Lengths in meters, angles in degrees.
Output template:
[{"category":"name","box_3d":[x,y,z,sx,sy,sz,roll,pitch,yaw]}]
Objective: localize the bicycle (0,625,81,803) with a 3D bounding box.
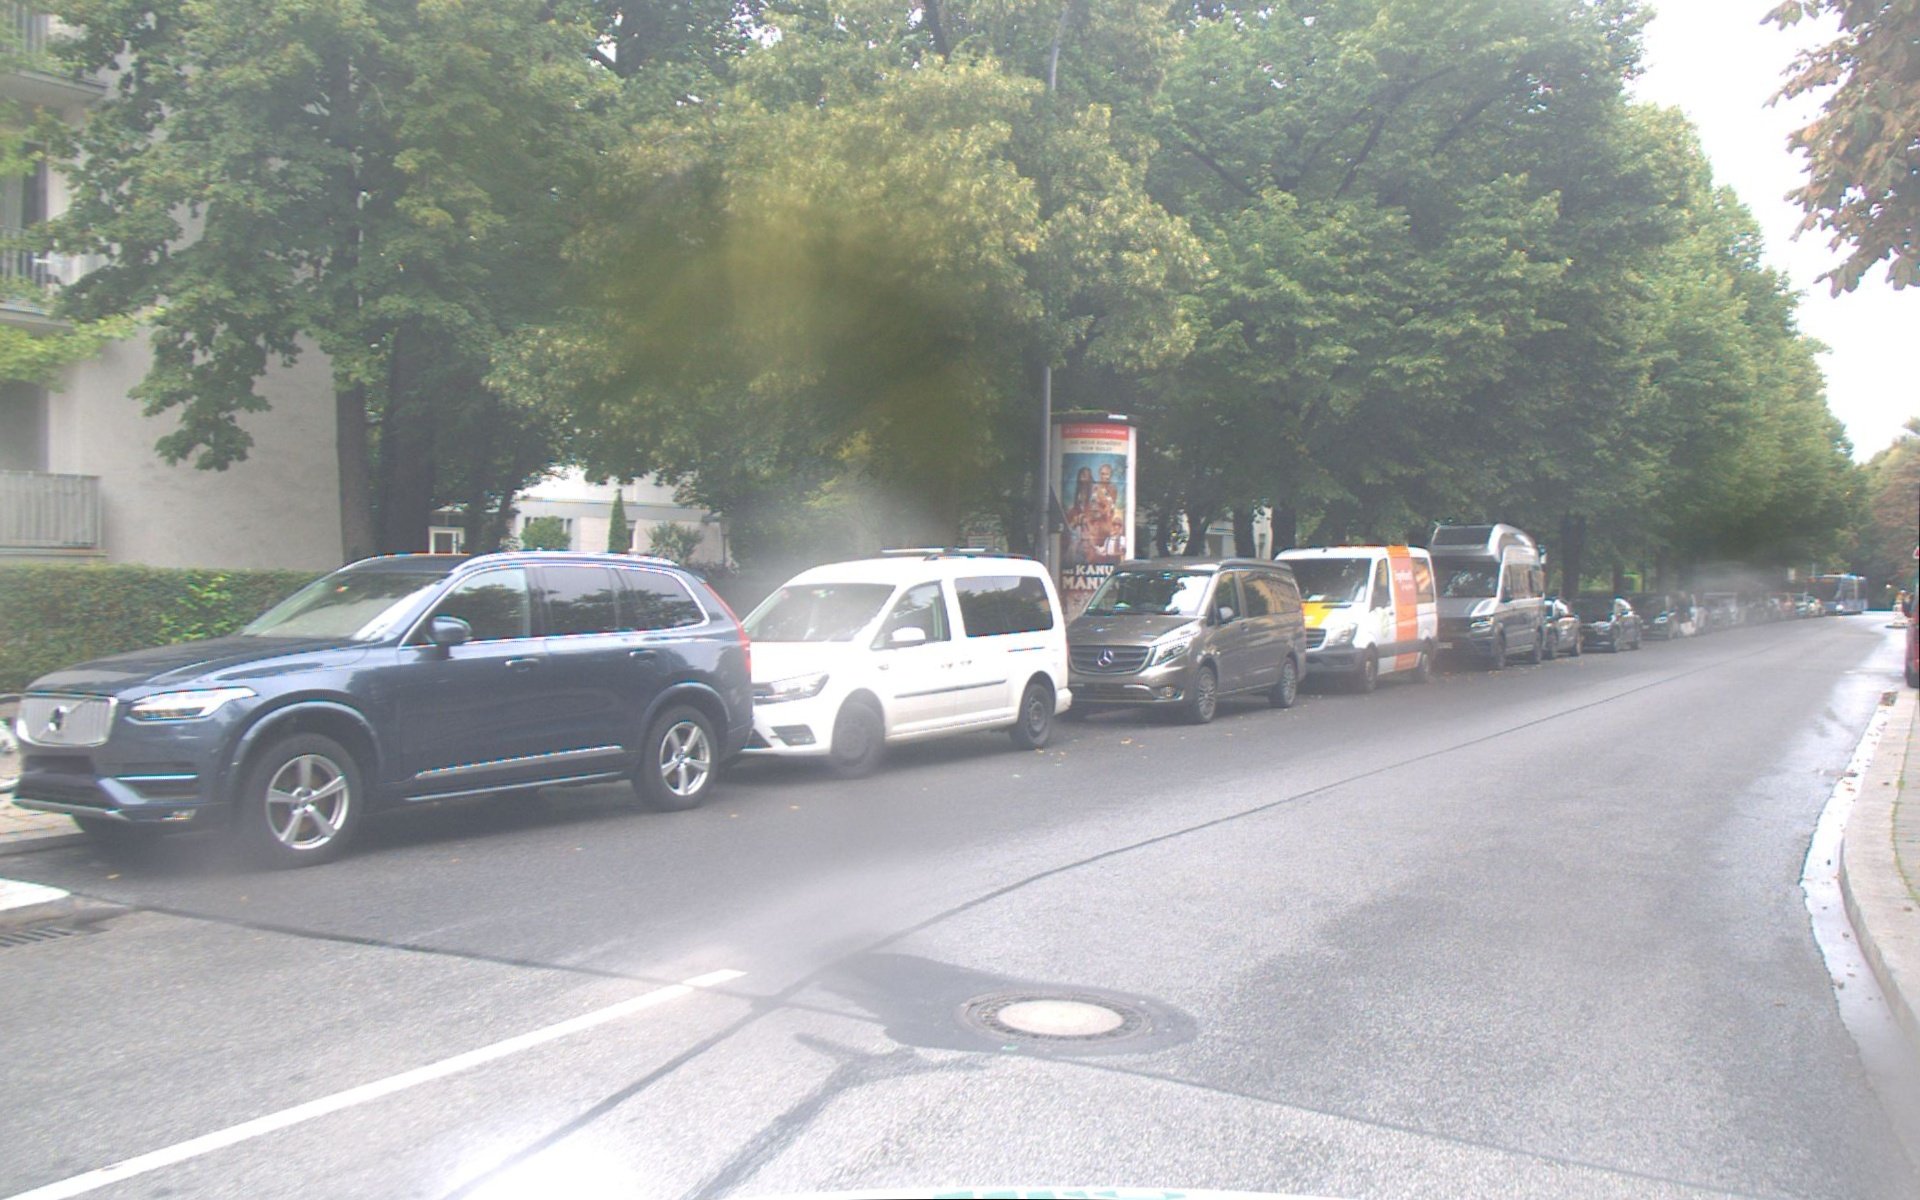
[{"category":"bicycle","box_3d":[-6.540,0.740,10.370,0.736,1.104,1.785,0,1,21]}]

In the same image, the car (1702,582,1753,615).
[{"category":"car","box_3d":[35.048,-0.085,75.484,1.955,1.445,3.995,1,1,28]}]

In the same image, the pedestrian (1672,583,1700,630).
[{"category":"pedestrian","box_3d":[25.598,0.209,58.303,0.866,1.625,0.823,1,1,23]}]

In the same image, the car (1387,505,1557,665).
[{"category":"car","box_3d":[10.913,-0.326,34.900,2.132,3.055,6.222,1,1,30]}]

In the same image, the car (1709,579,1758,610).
[{"category":"car","box_3d":[37.471,-0.284,80.055,1.955,1.445,3.995,1,1,28]}]

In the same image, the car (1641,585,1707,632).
[{"category":"car","box_3d":[26.769,0.276,61.937,1.955,1.648,4.124,1,1,28]}]

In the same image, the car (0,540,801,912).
[{"category":"car","box_3d":[-3.462,0.561,10.568,2.047,1.749,5.290,1,1,33]}]

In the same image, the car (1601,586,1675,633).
[{"category":"car","box_3d":[23.180,0.291,56.464,1.955,1.512,4.124,1,1,28]}]

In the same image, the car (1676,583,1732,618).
[{"category":"car","box_3d":[31.782,-0.006,70.610,1.955,1.445,3.995,1,1,28]}]

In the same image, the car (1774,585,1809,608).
[{"category":"car","box_3d":[54.220,-0.219,107.810,1.955,1.445,3.995,1,1,28]}]

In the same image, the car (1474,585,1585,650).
[{"category":"car","box_3d":[13.775,0.387,39.867,1.955,1.445,3.995,1,1,28]}]

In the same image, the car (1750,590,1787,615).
[{"category":"car","box_3d":[49.092,0.107,100.395,1.955,1.445,3.995,1,1,28]}]

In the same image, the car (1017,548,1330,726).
[{"category":"car","box_3d":[2.902,0.386,21.016,1.988,1.941,5.657,-1,0,29]}]

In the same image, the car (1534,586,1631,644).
[{"category":"car","box_3d":[16.796,0.370,44.516,1.955,1.445,4.124,1,1,28]}]

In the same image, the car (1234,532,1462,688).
[{"category":"car","box_3d":[6.546,0.145,27.363,2.045,2.304,5.590,-1,0,31]}]

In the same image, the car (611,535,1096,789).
[{"category":"car","box_3d":[-0.759,0.437,15.223,2.046,1.937,4.847,1,1,32]}]

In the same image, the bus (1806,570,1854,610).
[{"category":"bus","box_3d":[67.828,-0.818,129.078,2.879,2.970,8.234,1,1,25]}]

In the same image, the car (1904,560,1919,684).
[{"category":"car","box_3d":[17.235,0.345,28.145,1.875,1.970,4.962,1,1,28]}]
